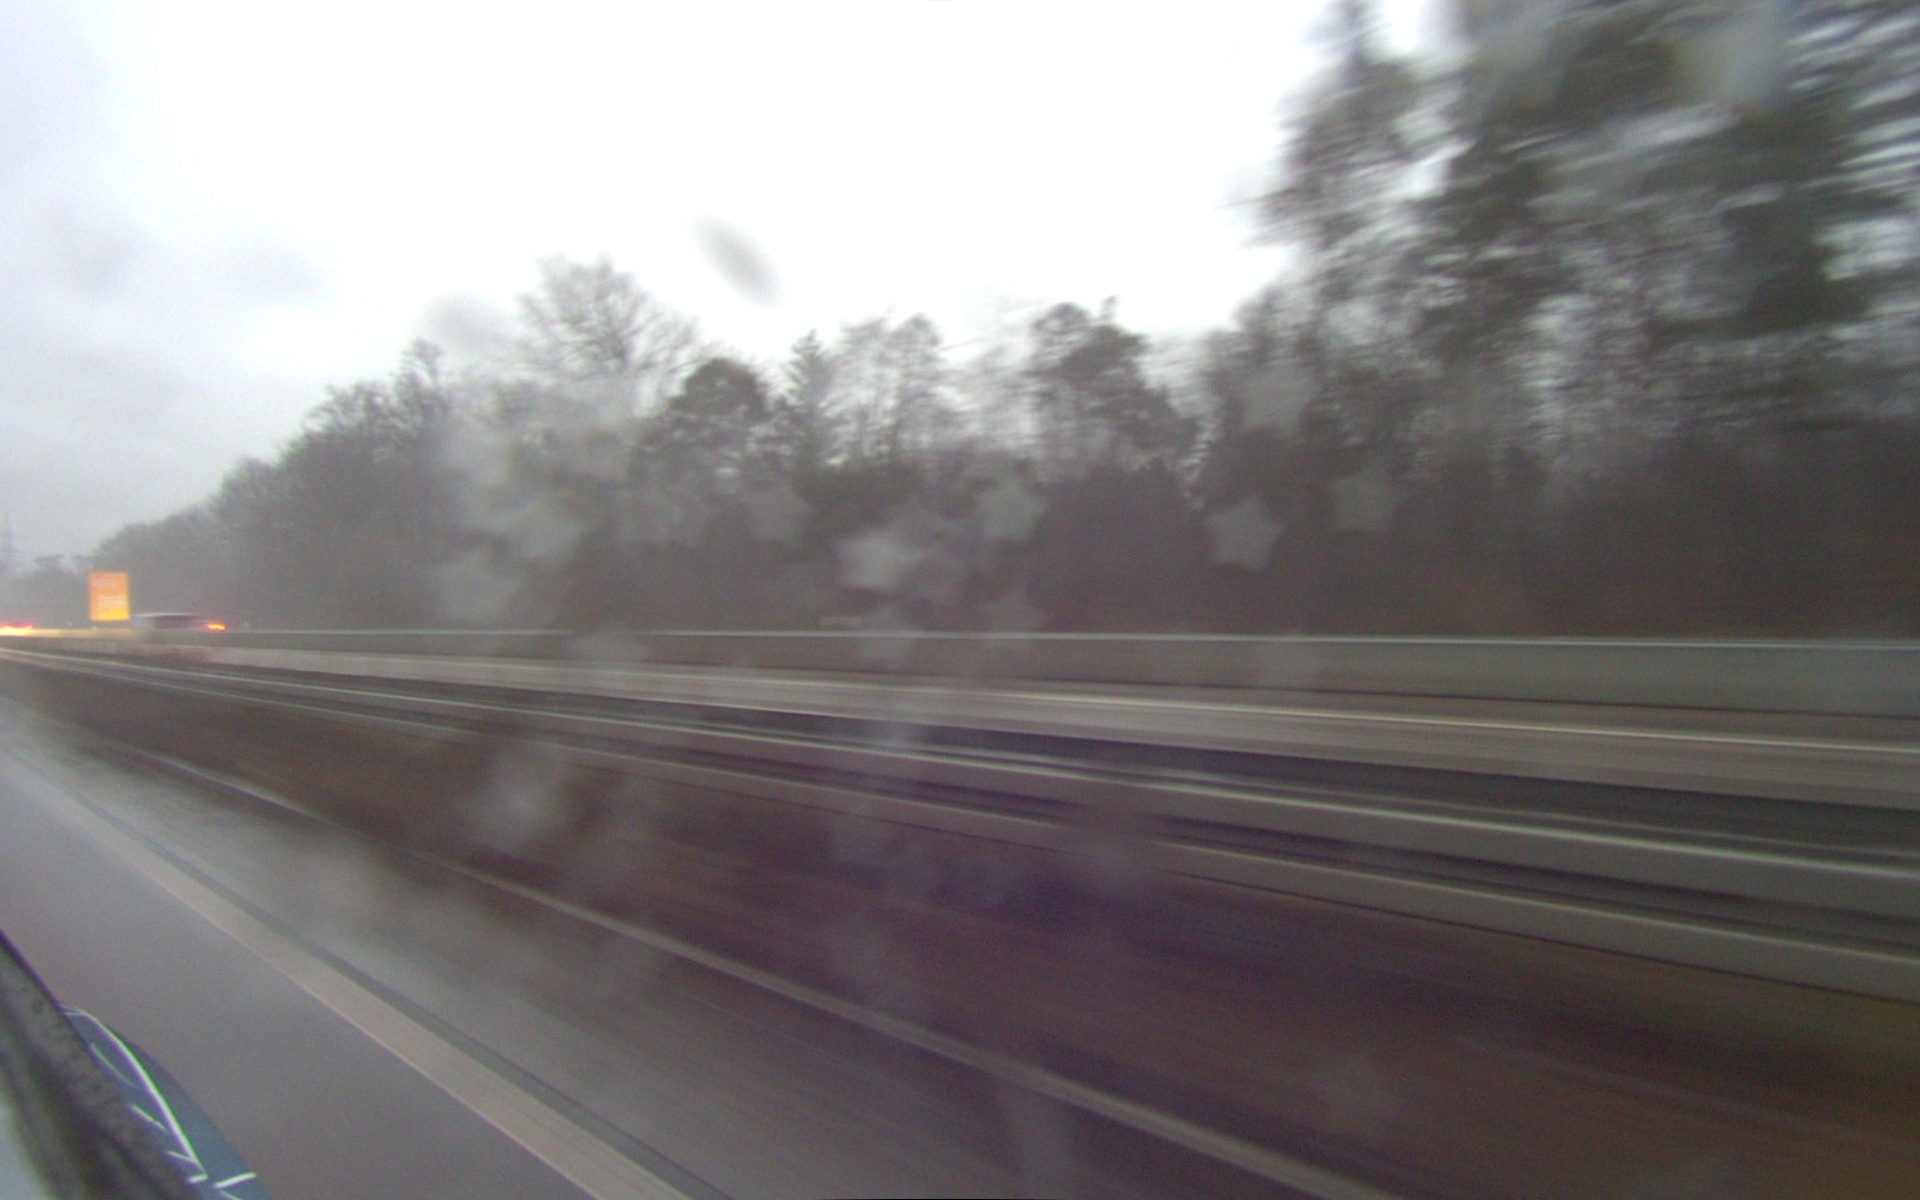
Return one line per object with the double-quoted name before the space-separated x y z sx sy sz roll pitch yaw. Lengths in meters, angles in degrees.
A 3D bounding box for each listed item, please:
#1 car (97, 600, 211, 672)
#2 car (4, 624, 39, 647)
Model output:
"car" -24.710 1.074 30.967 4.637 2.029 1.913 -2 -1 41
"car" -84.455 3.186 91.056 4.710 1.965 1.972 -2 -1 42
